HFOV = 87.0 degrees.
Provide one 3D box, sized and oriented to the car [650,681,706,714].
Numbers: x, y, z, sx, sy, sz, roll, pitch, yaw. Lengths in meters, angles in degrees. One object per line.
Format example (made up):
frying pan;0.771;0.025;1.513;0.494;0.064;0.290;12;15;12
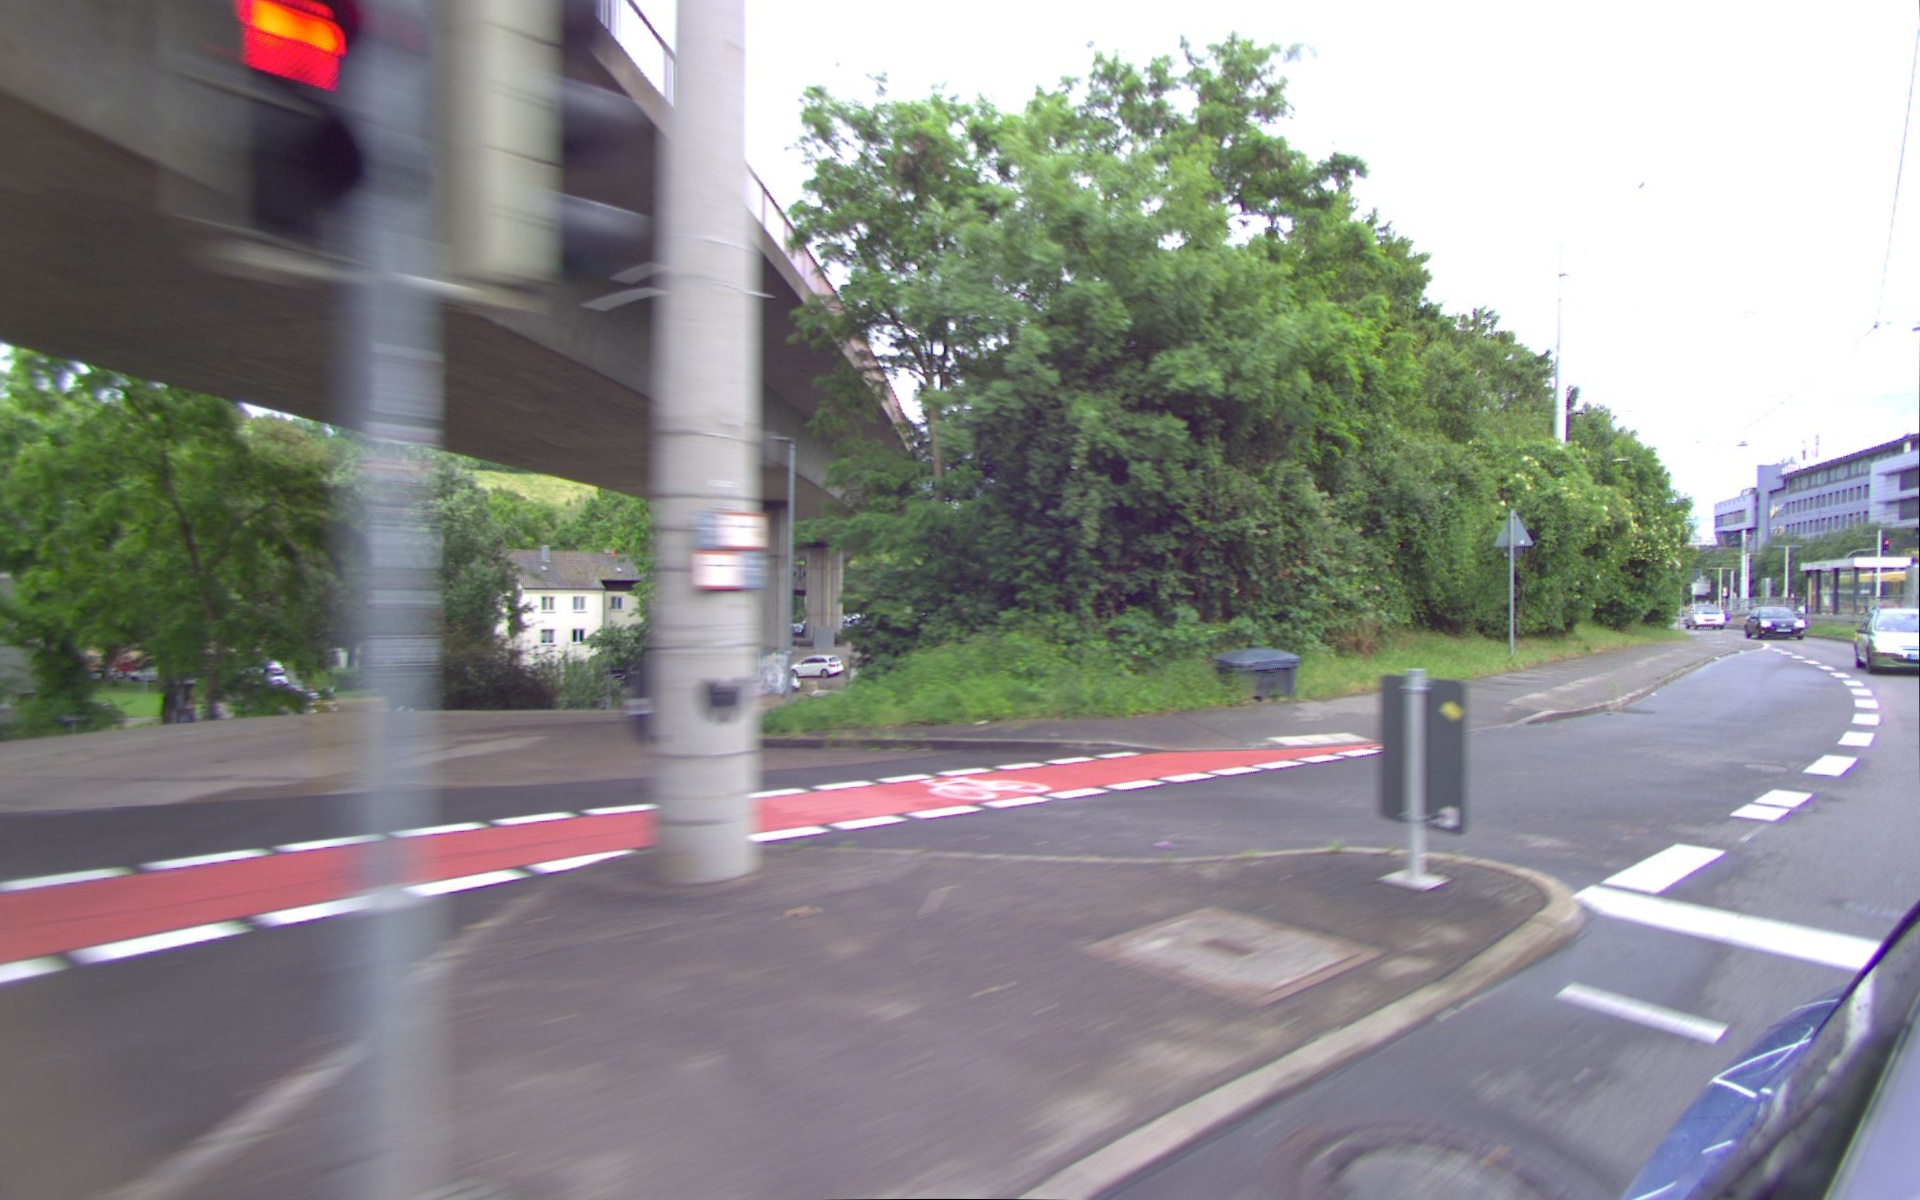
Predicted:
car;-16.234;5.612;58.485;1.963;1.469;4.288;0;0;1

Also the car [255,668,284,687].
car;-64.022;7.155;93.791;1.856;1.469;4.151;0;0;-40

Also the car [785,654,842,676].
car;-10.650;4.745;73.751;3.926;1.482;1.772;0;0;2

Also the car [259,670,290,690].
car;-60.830;7.050;89.781;1.856;1.469;4.151;0;0;-40

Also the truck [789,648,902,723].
truck;-3.768;2.816;34.713;2.661;2.039;5.753;0;0;6

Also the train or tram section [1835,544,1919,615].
train or tram section;58.296;-1.262;61.803;2.850;4.023;19.145;-2;0;27

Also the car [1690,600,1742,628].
car;46.024;0.828;61.706;1.982;1.592;3.958;-2;0;30

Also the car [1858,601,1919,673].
car;22.504;0.831;23.618;1.770;1.520;3.951;2;2;34

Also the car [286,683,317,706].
car;-50.555;7.210;77.704;1.708;1.431;3.556;0;0;-38

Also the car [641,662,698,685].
car;-21.501;5.410;75.075;3.916;1.482;1.776;0;0;-12

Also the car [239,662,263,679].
car;-75.765;7.536;108.127;1.856;1.469;4.151;0;0;-40

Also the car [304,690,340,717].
car;-43.035;6.955;68.279;1.708;1.431;3.556;0;0;-38

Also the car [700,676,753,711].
car;-13.370;5.339;58.217;1.963;1.629;4.288;0;0;1

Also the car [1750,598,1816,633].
car;38.016;0.690;46.837;1.767;1.520;3.957;-1;0;30
